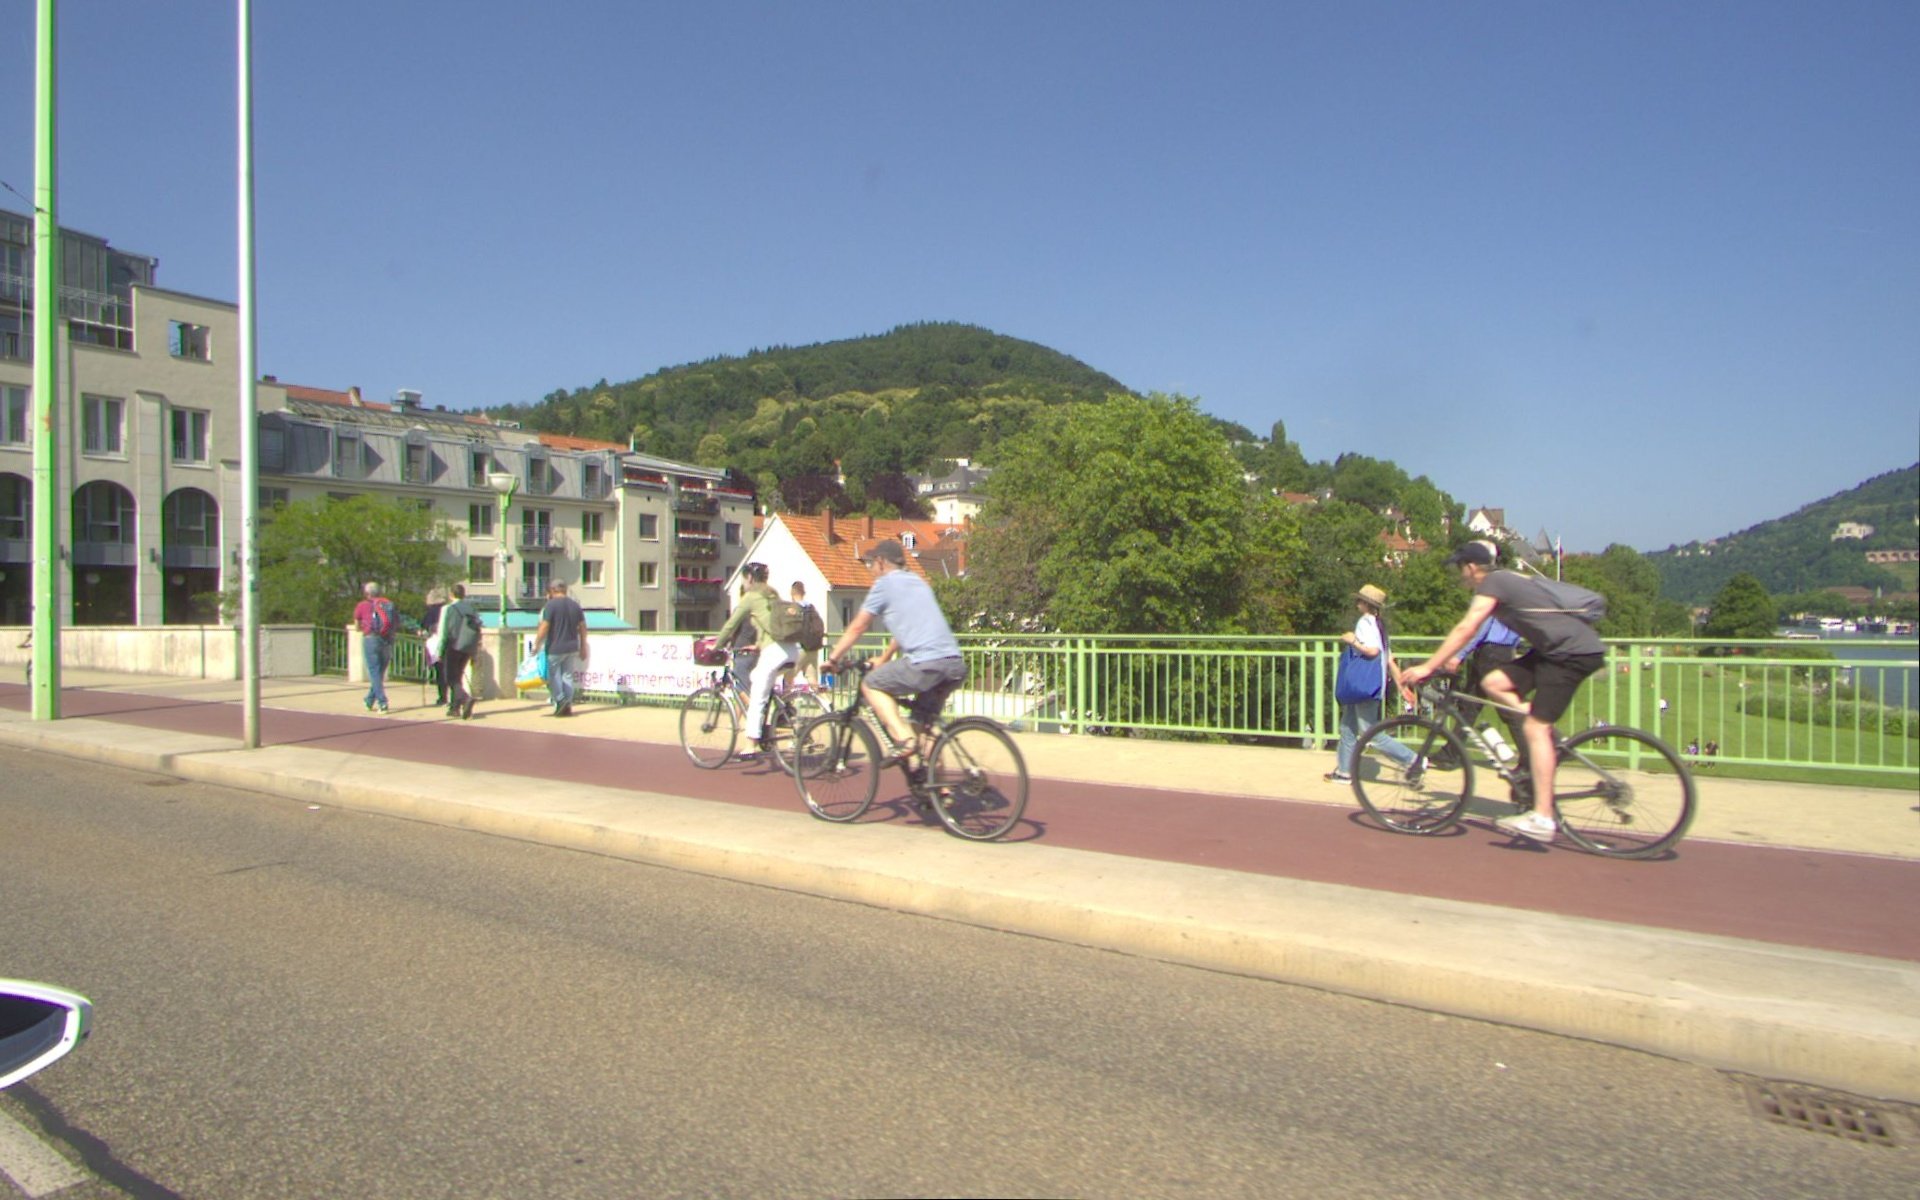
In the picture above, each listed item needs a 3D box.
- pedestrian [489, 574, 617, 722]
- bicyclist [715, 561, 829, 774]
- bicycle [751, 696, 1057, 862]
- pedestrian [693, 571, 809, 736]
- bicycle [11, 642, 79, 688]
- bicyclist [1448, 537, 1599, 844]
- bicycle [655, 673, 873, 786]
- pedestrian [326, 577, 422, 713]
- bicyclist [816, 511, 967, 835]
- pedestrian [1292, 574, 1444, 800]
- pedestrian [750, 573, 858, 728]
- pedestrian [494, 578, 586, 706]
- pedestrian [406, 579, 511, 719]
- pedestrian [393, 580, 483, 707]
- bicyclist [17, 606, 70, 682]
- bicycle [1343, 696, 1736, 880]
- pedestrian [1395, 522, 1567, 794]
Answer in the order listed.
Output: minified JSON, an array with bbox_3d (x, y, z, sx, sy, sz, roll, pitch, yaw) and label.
[{"bbox_3d":[-5.254,0.584,12.941,1.190,1.801,0.975,0,2,32],"label":"pedestrian"},{"bbox_3d":[-1.545,0.530,8.268,0.691,1.672,0.585,0,1,30],"label":"bicyclist"},{"bbox_3d":[-0.372,1.036,6.125,1.838,0.776,0.593,-1,1,30],"label":"bicycle"},{"bbox_3d":[-2.318,0.561,11.121,1.001,1.741,0.737,0,2,32],"label":"pedestrian"},{"bbox_3d":[-17.260,1.211,18.880,1.637,0.776,0.512,-1,1,33],"label":"bicycle"},{"bbox_3d":[3.122,0.471,5.570,0.691,1.579,0.585,0,1,30],"label":"bicyclist"},{"bbox_3d":[-1.657,1.043,8.359,1.838,0.776,0.593,-1,1,30],"label":"bicycle"},{"bbox_3d":[-8.180,0.601,13.985,1.001,1.826,0.737,0,2,32],"label":"pedestrian"},{"bbox_3d":[-0.411,0.418,6.122,0.691,1.844,0.585,0,1,30],"label":"bicyclist"},{"bbox_3d":[3.039,0.595,7.436,0.919,1.550,0.827,0,2,32],"label":"pedestrian"},{"bbox_3d":[-1.836,0.568,11.786,1.001,1.741,0.737,0,1,32],"label":"pedestrian"},{"bbox_3d":[-6.043,0.585,14.423,1.001,1.770,0.737,0,2,32],"label":"pedestrian"},{"bbox_3d":[-6.540,0.606,13.068,1.058,1.741,0.753,0,2,32],"label":"pedestrian"},{"bbox_3d":[-7.703,0.617,14.781,1.001,1.801,0.737,0,2,32],"label":"pedestrian"},{"bbox_3d":[-17.268,0.817,18.867,0.659,1.402,0.532,0,2,32],"label":"bicyclist"},{"bbox_3d":[3.133,0.981,5.571,1.804,0.776,0.593,-1,1,30],"label":"bicycle"},{"bbox_3d":[4.048,0.415,7.760,1.121,1.923,0.924,0,1,32],"label":"pedestrian"}]
